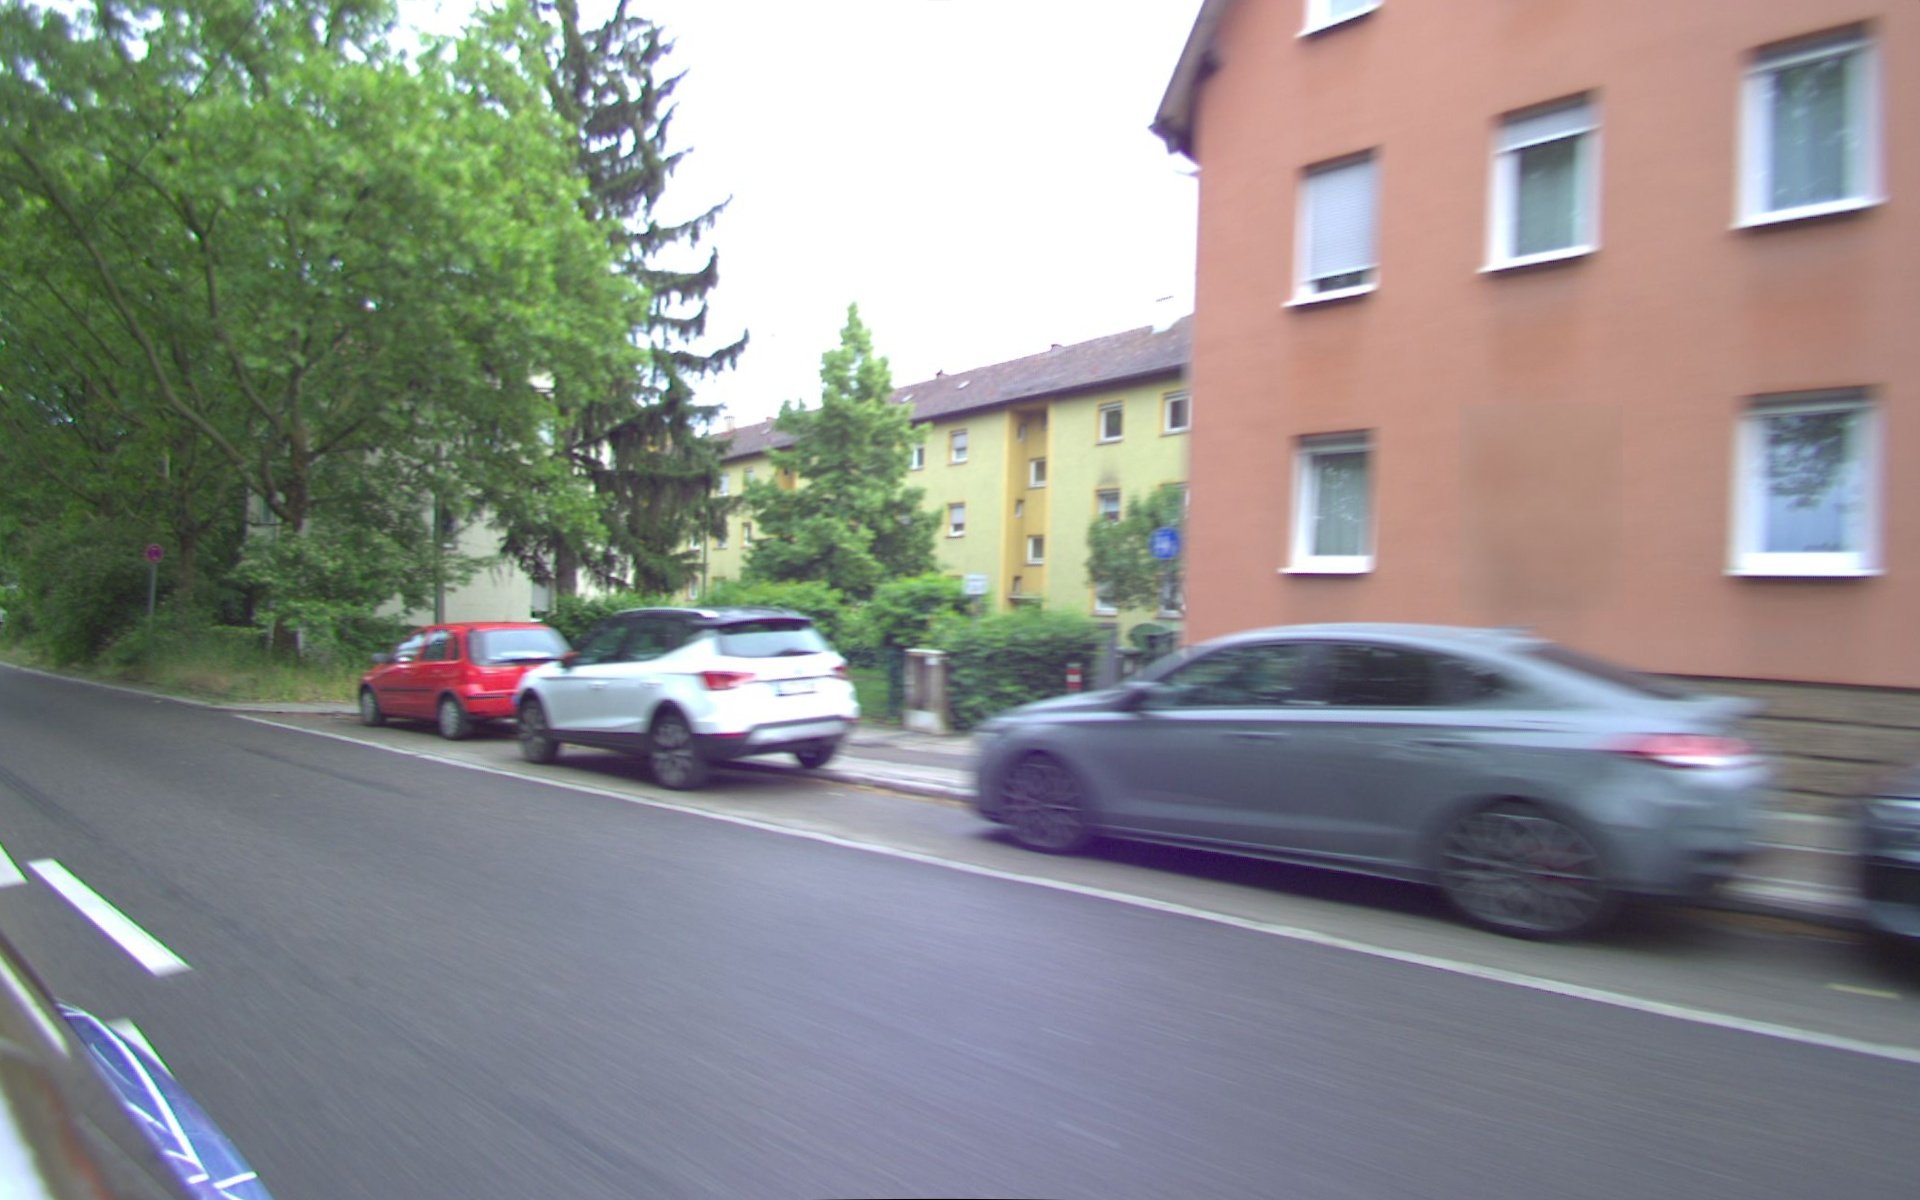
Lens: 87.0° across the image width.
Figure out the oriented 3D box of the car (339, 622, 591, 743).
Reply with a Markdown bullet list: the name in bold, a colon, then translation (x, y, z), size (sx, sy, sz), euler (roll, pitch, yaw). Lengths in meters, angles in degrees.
- **car**: translation (-6.673, 0.995, 13.503), size (3.755, 1.384, 1.622), euler (-1, -1, 40)

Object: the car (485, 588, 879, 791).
- **car**: translation (-2.822, 0.803, 9.782), size (4.115, 1.554, 1.673), euler (-2, -5, 42)

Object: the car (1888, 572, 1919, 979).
- **car**: translation (5.645, 0.608, 2.883), size (4.357, 1.493, 1.618), euler (-1, 0, 42)

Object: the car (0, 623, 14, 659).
- **car**: translation (-43.848, 1.781, 45.334), size (4.016, 1.549, 1.630), euler (-1, -5, 41)

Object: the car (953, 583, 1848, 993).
- **car**: translation (2.155, 0.749, 5.816), size (4.383, 1.493, 1.725), euler (-2, -3, 42)
